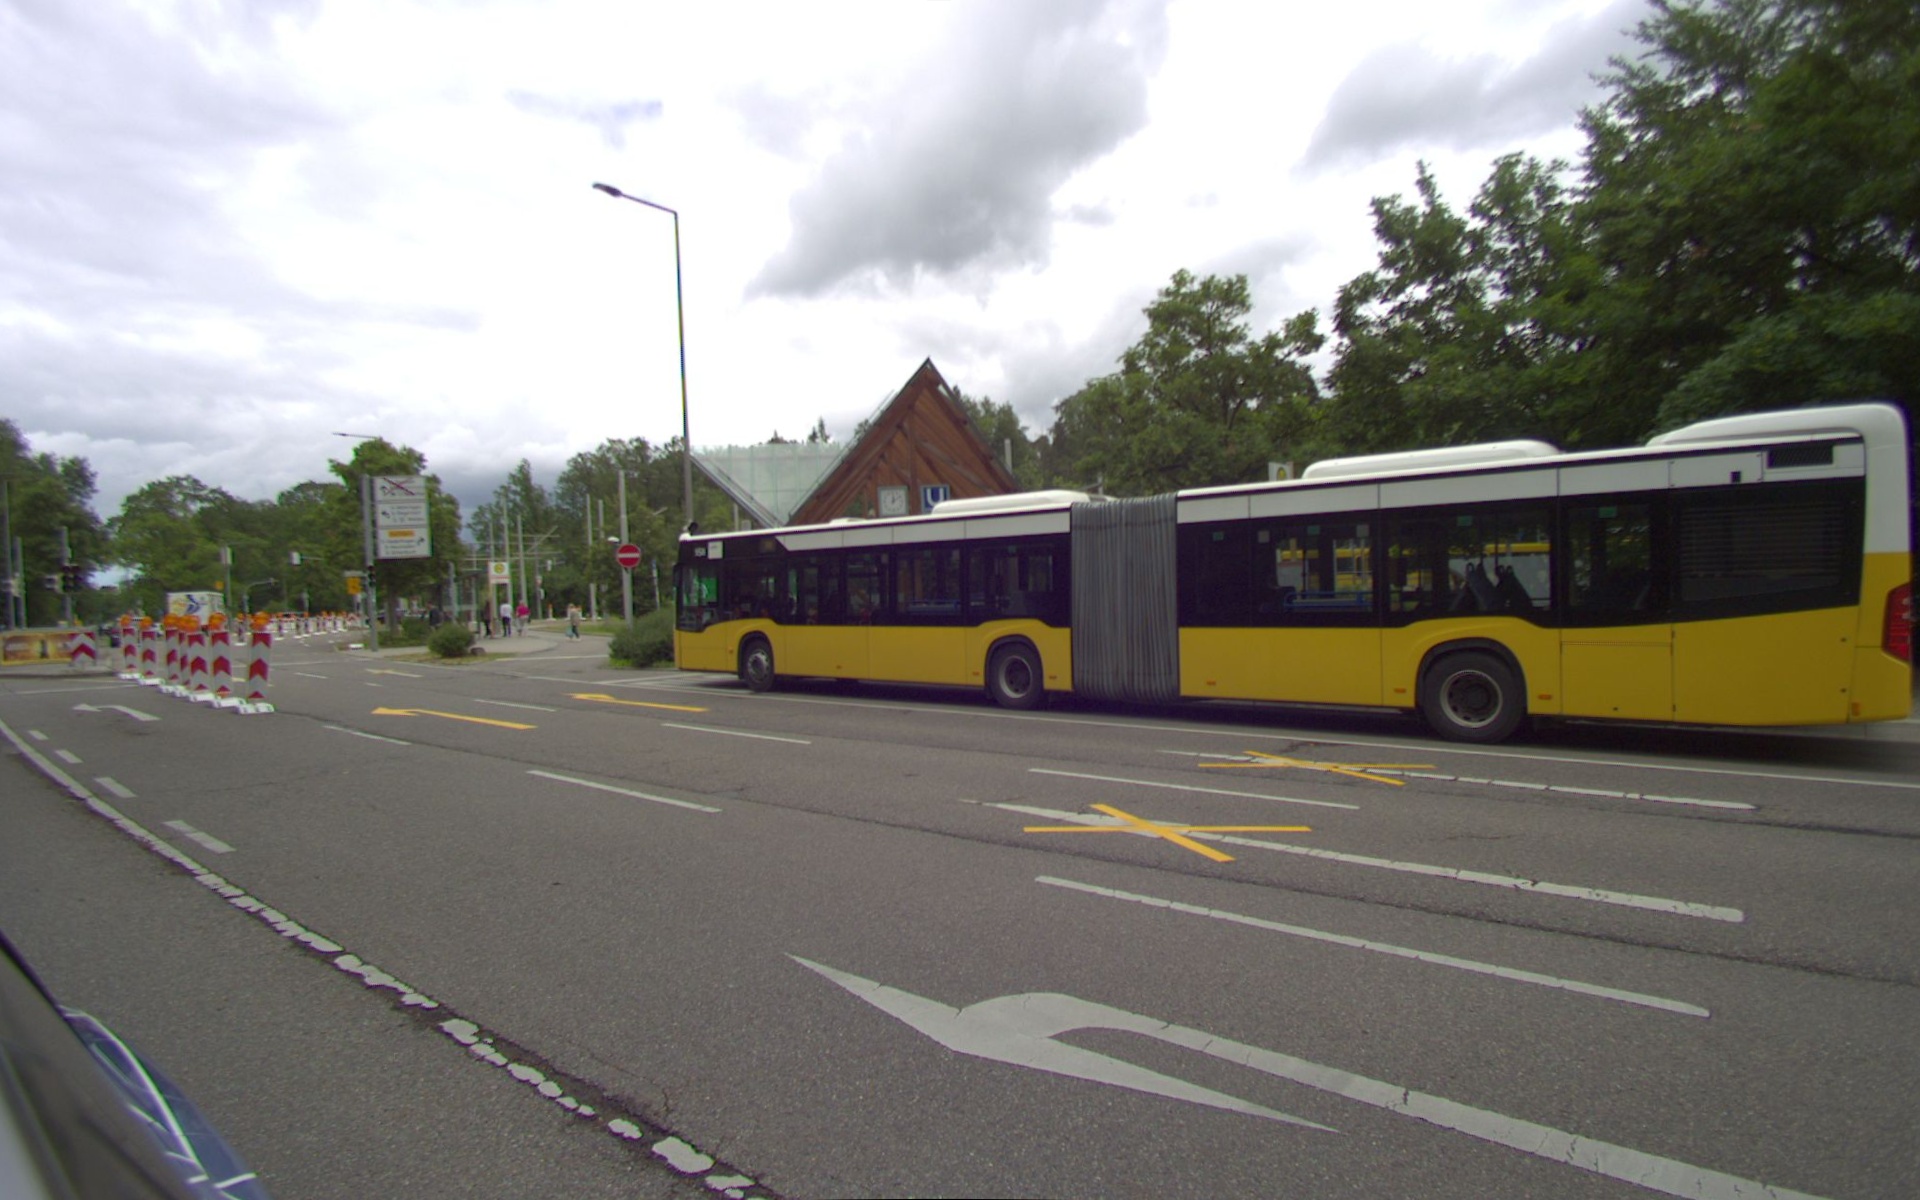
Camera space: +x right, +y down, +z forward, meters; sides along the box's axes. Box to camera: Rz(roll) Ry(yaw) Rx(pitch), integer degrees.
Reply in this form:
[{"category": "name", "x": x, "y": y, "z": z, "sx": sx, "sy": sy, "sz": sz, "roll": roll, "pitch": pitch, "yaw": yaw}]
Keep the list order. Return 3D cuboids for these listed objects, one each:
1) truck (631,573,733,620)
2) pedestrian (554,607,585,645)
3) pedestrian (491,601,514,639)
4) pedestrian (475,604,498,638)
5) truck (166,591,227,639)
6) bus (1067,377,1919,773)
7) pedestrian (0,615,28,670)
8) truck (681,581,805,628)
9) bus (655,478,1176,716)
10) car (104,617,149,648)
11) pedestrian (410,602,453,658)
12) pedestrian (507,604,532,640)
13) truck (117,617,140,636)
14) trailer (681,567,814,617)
[{"category": "truck", "x": -26.420, "y": -0.329, "z": 96.225, "sx": 8.712, "sy": 3.910, "sz": 3.761, "roll": -3, "pitch": 1, "yaw": 22}, {"category": "pedestrian", "x": -16.277, "y": 1.078, "z": 42.202, "sx": 0.870, "sy": 1.536, "sz": 0.762, "roll": -3, "pitch": 1, "yaw": 23}, {"category": "pedestrian", "x": -20.891, "y": 0.929, "z": 46.205, "sx": 0.675, "sy": 1.678, "sz": 0.871, "roll": -4, "pitch": 1, "yaw": -42}, {"category": "pedestrian", "x": -21.941, "y": 0.966, "z": 46.915, "sx": 0.764, "sy": 1.557, "sz": 0.630, "roll": -4, "pitch": 2, "yaw": -37}, {"category": "truck", "x": -54.244, "y": 1.086, "z": 72.062, "sx": 2.592, "sy": 3.263, "sz": 6.226, "roll": 0, "pitch": -1, "yaw": -29}, {"category": "bus", "x": 5.648, "y": -0.136, "z": 11.646, "sx": 8.689, "sy": 3.150, "sz": 2.869, "roll": -1, "pitch": -1, "yaw": 41}, {"category": "pedestrian", "x": -29.865, "y": 1.326, "z": 31.585, "sx": 1.077, "sy": 1.689, "sz": 0.912, "roll": -1, "pitch": 0, "yaw": -41}, {"category": "truck", "x": -11.874, "y": 0.254, "z": 55.409, "sx": 6.262, "sy": 2.186, "sz": 2.588, "roll": -3, "pitch": 1, "yaw": 23}, {"category": "bus", "x": -1.318, "y": 0.043, "z": 17.684, "sx": 9.753, "sy": 3.150, "sz": 2.869, "roll": -1, "pitch": -1, "yaw": 41}, {"category": "car", "x": -44.246, "y": 1.676, "z": 53.696, "sx": 1.785, "sy": 1.520, "sz": 4.315, "roll": 0, "pitch": 0, "yaw": -40}, {"category": "pedestrian", "x": -17.855, "y": 0.997, "z": 34.198, "sx": 0.980, "sy": 1.822, "sz": 0.766, "roll": -3, "pitch": 1, "yaw": -1}, {"category": "pedestrian", "x": -19.641, "y": 0.988, "z": 45.123, "sx": 0.779, "sy": 1.563, "sz": 0.777, "roll": -4, "pitch": 1, "yaw": -39}, {"category": "truck", "x": -150.856, "y": 4.731, "z": 183.647, "sx": 2.703, "sy": 3.235, "sz": 6.689, "roll": -4, "pitch": 1, "yaw": -35}, {"category": "trailer", "x": -19.636, "y": -0.689, "z": 93.382, "sx": 11.789, "sy": 3.910, "sz": 3.761, "roll": -3, "pitch": 1, "yaw": 22}]
